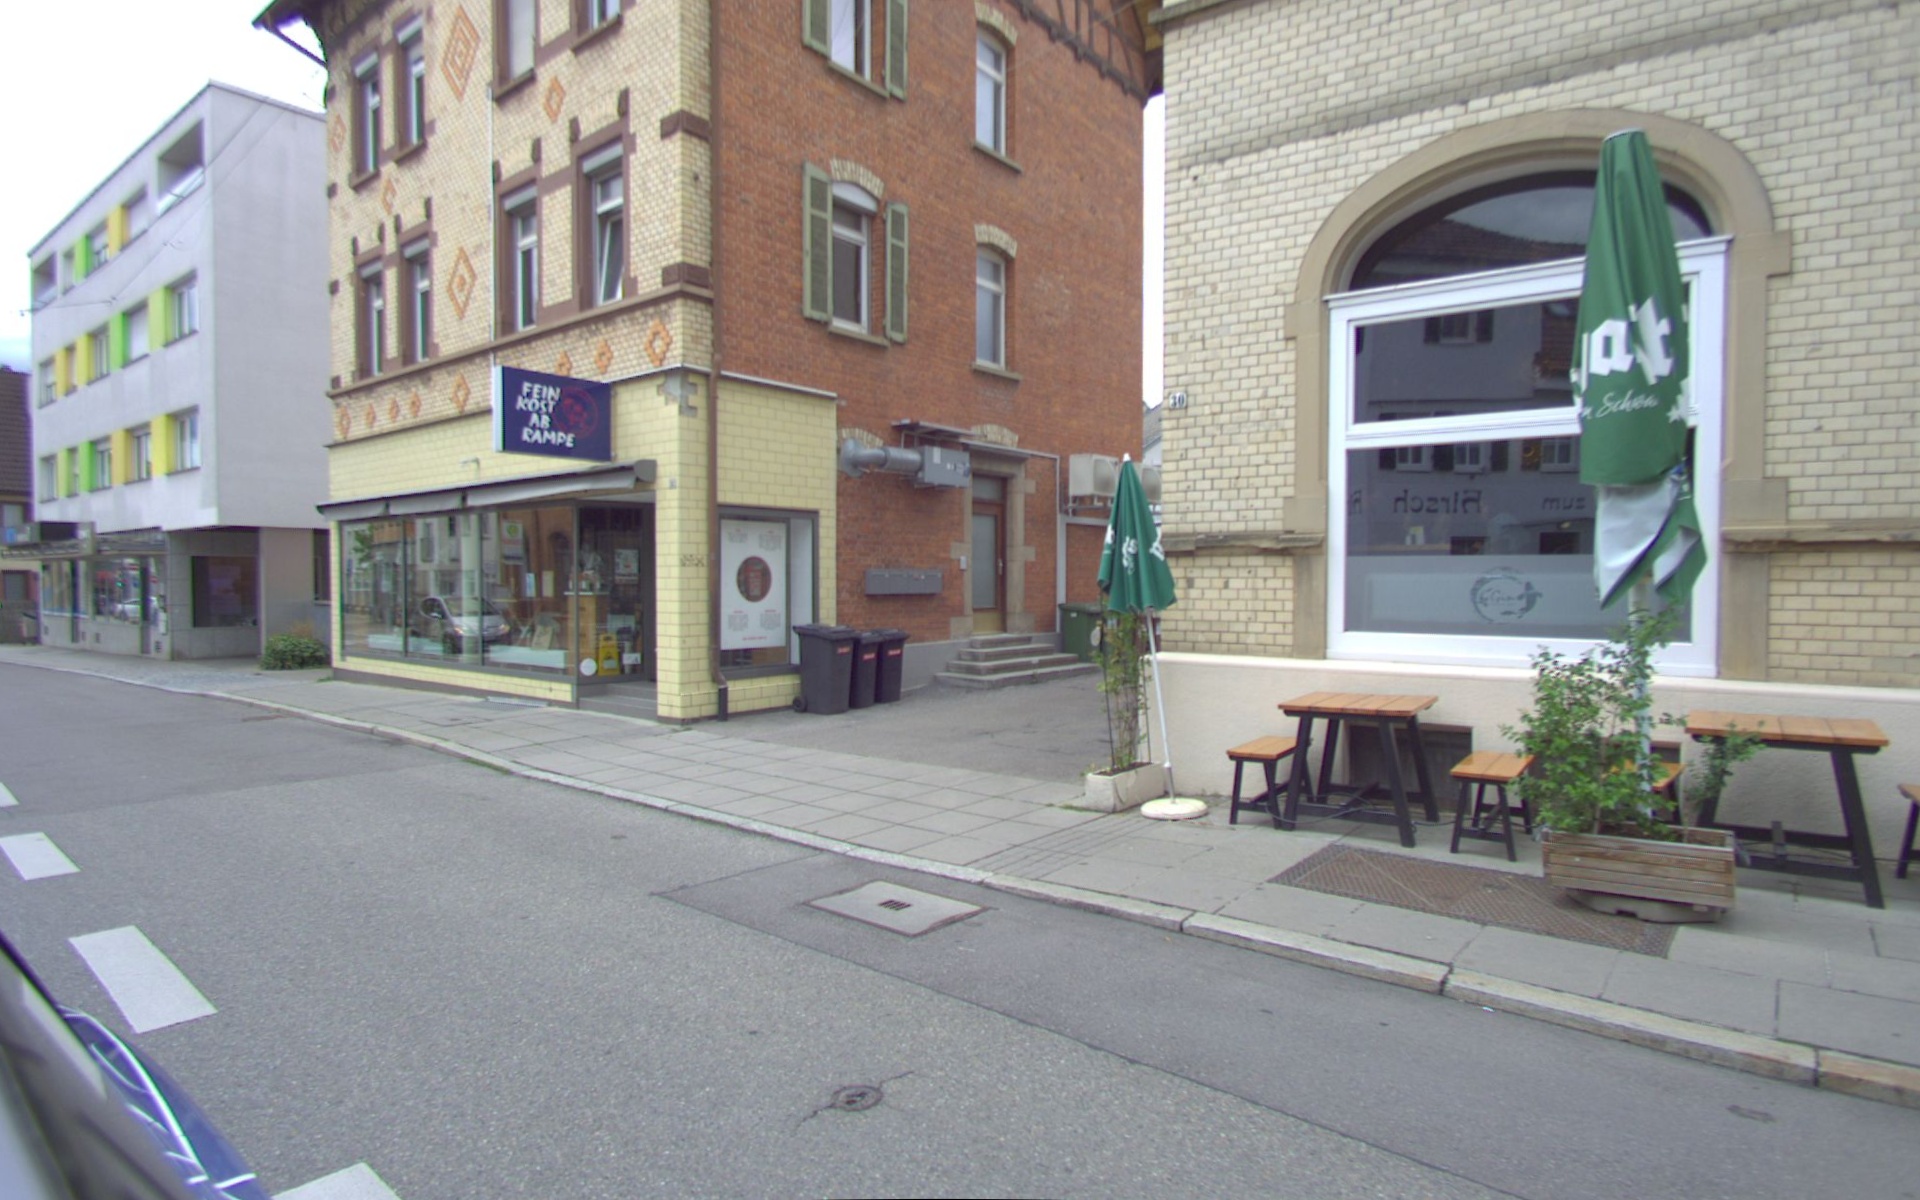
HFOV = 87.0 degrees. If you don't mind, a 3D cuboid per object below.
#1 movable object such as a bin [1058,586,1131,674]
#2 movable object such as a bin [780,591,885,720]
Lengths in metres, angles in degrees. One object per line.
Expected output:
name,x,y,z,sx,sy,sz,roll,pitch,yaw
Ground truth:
movable object such as a bin,2.224,0.471,16.730,0.793,1.389,0.932,-1,1,40
movable object such as a bin,-1.523,0.630,12.130,0.823,1.388,0.932,4,6,40
